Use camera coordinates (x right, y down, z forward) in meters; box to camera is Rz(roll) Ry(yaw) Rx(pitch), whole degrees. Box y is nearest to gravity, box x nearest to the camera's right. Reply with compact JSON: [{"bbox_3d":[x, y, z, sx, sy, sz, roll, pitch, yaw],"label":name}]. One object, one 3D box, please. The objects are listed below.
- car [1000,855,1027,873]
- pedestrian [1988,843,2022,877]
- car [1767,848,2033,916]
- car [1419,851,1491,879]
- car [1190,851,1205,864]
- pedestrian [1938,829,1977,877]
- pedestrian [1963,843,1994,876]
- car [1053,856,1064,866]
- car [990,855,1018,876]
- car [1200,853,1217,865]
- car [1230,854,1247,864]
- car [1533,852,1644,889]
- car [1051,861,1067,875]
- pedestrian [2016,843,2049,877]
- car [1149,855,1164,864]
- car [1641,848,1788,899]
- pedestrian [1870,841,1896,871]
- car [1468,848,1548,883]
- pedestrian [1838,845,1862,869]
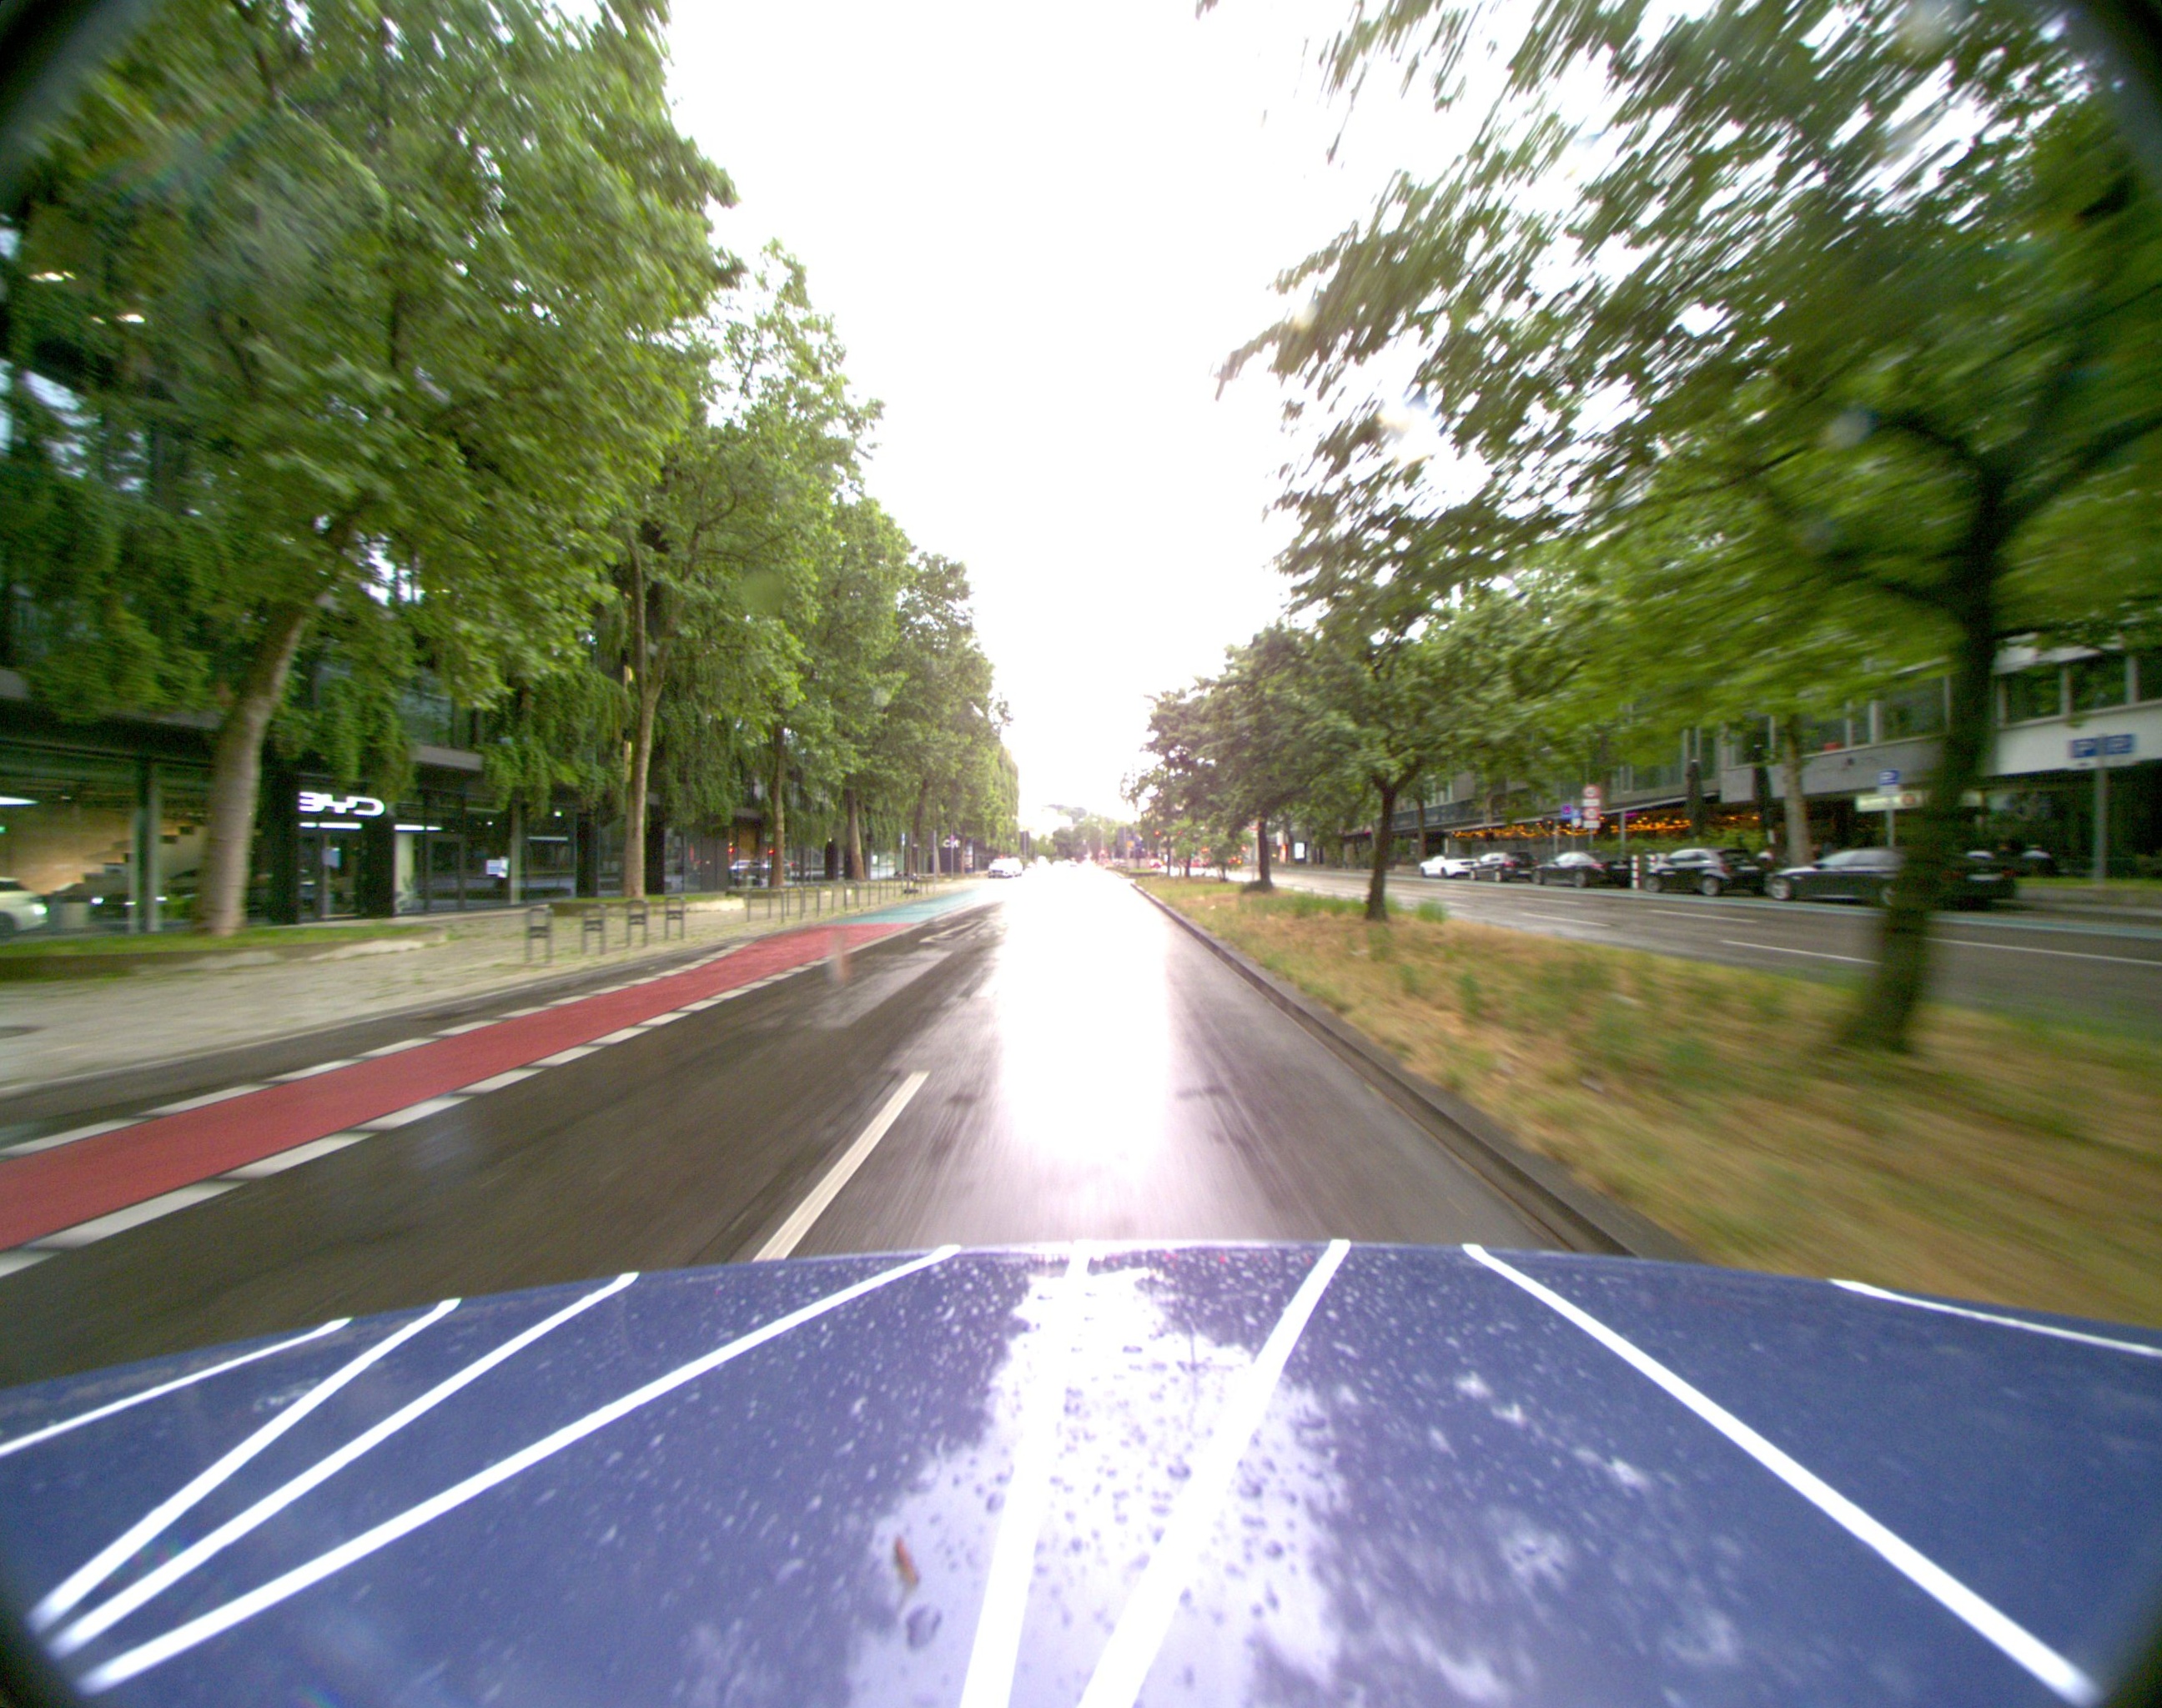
[{"bbox_3d":[-6.651,0.975,74.963,2.036,1.553,4.585,-2,1,2],"label":"car"},{"bbox_3d":[27.572,0.176,22.681,0.486,0.995,0.490,-3,1,-15],"label":"pedestrian"},{"bbox_3d":[19.817,0.590,18.763,1.875,1.377,4.537,-2,1,4],"label":"car"},{"bbox_3d":[20.495,0.562,41.838,1.881,1.318,4.392,-2,1,2],"label":"car"},{"bbox_3d":[18.263,0.544,119.230,1.938,1.776,3.954,-2,1,2],"label":"car"},{"bbox_3d":[30.472,-0.046,26.423,0.606,1.638,0.623,-2,1,-3],"label":"pedestrian"},{"bbox_3d":[27.502,0.166,23.282,0.459,0.987,0.463,-3,1,-15],"label":"pedestrian"},{"bbox_3d":[-3.645,1.086,124.906,1.557,1.534,3.663,-2,1,0],"label":"car"},{"bbox_3d":[-6.943,1.006,68.886,1.932,1.726,4.598,-2,1,0],"label":"car"},{"bbox_3d":[18.527,0.713,110.732,1.780,1.565,3.728,-2,1,0],"label":"car"},{"bbox_3d":[22.556,0.737,108.906,1.765,1.318,3.738,-2,1,1],"label":"car"},{"bbox_3d":[19.969,0.595,30.130,1.647,1.232,4.318,-2,1,3],"label":"car"},{"bbox_3d":[-2.873,1.838,99.760,1.780,1.546,3.929,-2,1,0],"label":"car"},{"bbox_3d":[27.762,0.168,22.174,0.458,0.958,0.453,-3,1,-15],"label":"pedestrian"},{"bbox_3d":[11.628,0.843,117.022,1.678,1.381,3.527,-2,1,-2],"label":"car"},{"bbox_3d":[19.992,0.552,24.168,1.875,1.414,3.400,-2,1,1],"label":"car"},{"bbox_3d":[27.626,0.069,26.172,0.464,1.010,0.424,-2,1,-2],"label":"pedestrian"},{"bbox_3d":[20.259,0.506,36.238,1.750,1.445,3.788,-2,1,2],"label":"car"},{"bbox_3d":[27.793,0.123,27.468,0.440,0.845,0.433,-2,1,-2],"label":"pedestrian"}]
